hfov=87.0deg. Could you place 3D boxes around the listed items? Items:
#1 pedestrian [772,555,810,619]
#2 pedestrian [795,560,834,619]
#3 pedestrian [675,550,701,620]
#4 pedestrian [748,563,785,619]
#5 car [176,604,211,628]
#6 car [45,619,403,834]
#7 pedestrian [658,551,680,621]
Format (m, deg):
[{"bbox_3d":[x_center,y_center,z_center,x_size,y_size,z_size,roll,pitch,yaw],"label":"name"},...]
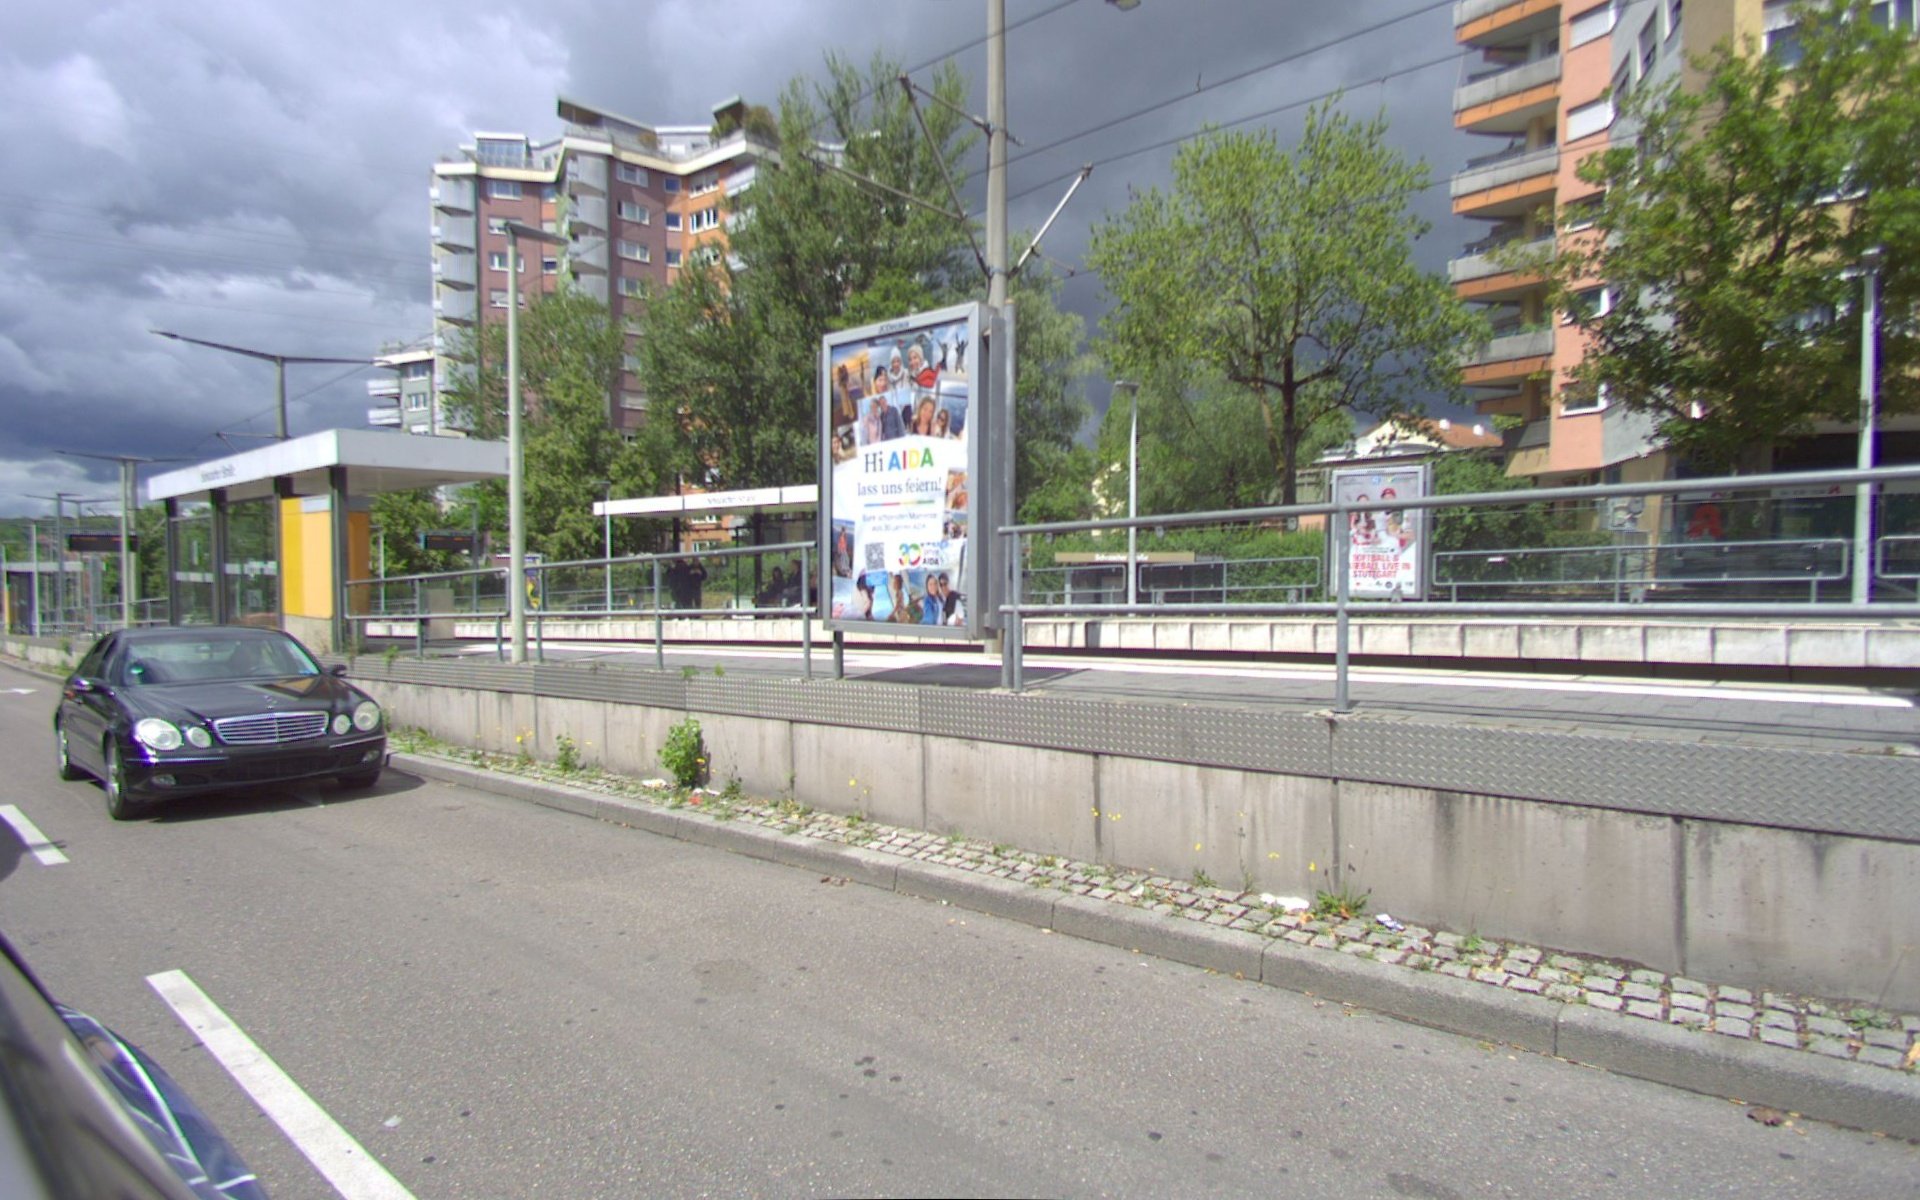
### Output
[{"bbox_3d":[-3.833,-0.292,22.929,0.463,1.428,0.703,-1,0,40],"label":"pedestrian"},{"bbox_3d":[-3.213,-0.233,22.370,0.463,1.287,0.703,-1,0,40],"label":"pedestrian"},{"bbox_3d":[-6.868,-0.375,25.531,0.544,1.726,0.386,-1,0,-2],"label":"pedestrian"},{"bbox_3d":[-4.541,-0.208,23.735,0.463,1.287,0.703,-1,0,40],"label":"pedestrian"},{"bbox_3d":[-66.423,1.381,87.699,4.000,2.029,1.714,-1,0,43],"label":"car"},{"bbox_3d":[-6.564,0.884,8.850,4.066,1.395,1.797,-1,0,43],"label":"car"},{"bbox_3d":[-7.326,-0.351,25.476,0.421,1.726,0.353,-1,0,-1],"label":"pedestrian"}]
